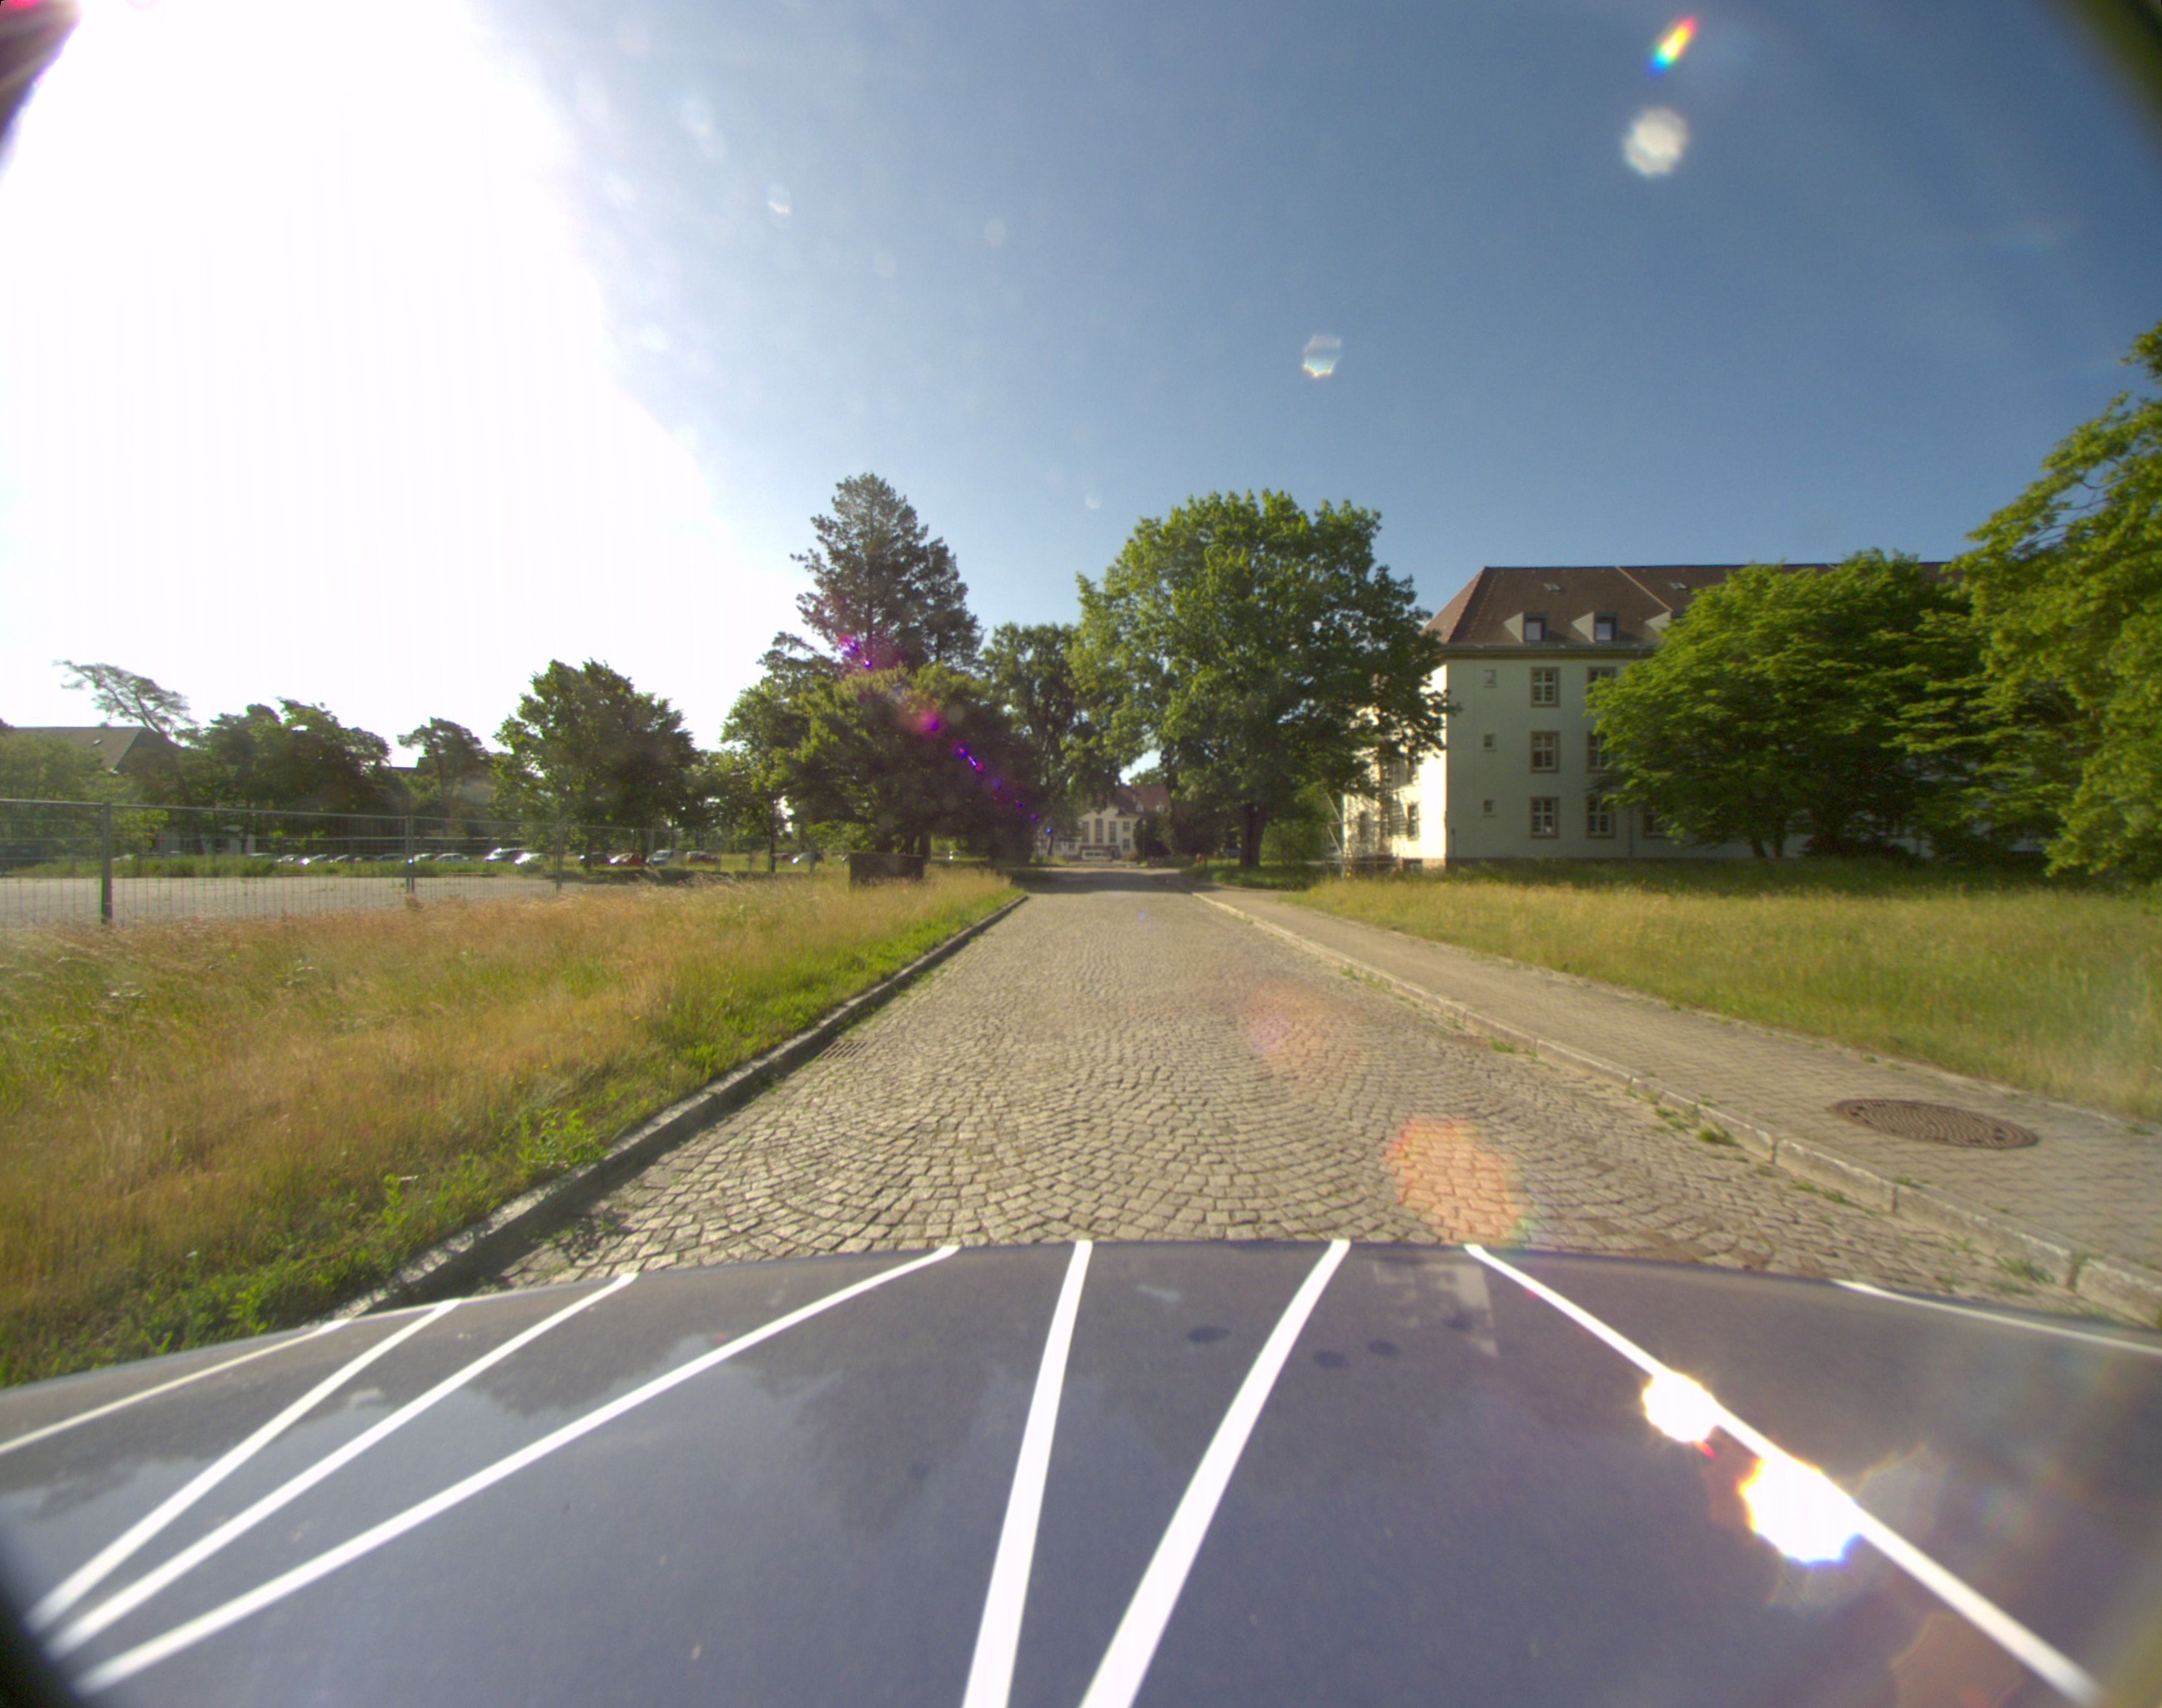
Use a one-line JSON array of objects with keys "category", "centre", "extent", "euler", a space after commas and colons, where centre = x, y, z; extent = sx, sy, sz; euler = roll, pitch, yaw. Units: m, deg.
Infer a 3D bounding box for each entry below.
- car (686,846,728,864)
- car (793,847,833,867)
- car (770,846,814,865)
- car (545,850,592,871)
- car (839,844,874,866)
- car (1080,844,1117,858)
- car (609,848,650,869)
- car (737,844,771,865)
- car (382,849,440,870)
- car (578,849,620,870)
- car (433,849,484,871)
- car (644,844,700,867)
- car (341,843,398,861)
[{"category": "car", "centre": [-36.127, 0.079, 73.546], "extent": [1.998, 1.642, 4.000], "euler": [0, 1, 1]}, {"category": "car", "centre": [-25.739, 0.245, 73.147], "extent": [2.245, 1.828, 4.349], "euler": [0, 1, 2]}, {"category": "car", "centre": [-28.084, 0.103, 74.007], "extent": [2.245, 1.828, 4.350], "euler": [0, 1, 5]}, {"category": "car", "centre": [-50.381, 0.645, 74.785], "extent": [1.999, 2.002, 3.999], "euler": [0, 1, 0]}, {"category": "car", "centre": [-21.470, 0.048, 72.803], "extent": [2.246, 2.002, 4.348], "euler": [0, 1, -2]}, {"category": "car", "centre": [3.157, -0.510, 136.071], "extent": [6.444, 2.452, 2.463], "euler": [0, 1, 2]}, {"category": "car", "centre": [-43.675, 0.389, 73.632], "extent": [1.741, 2.002, 3.619], "euler": [0, 1, 1]}, {"category": "car", "centre": [-31.993, 0.031, 74.360], "extent": [1.741, 2.002, 3.619], "euler": [0, 1, 1]}, {"category": "car", "centre": [-65.096, 0.511, 73.918], "extent": [1.998, 2.002, 3.999], "euler": [0, 1, 0]}, {"category": "car", "centre": [-46.486, 0.479, 73.357], "extent": [1.741, 2.002, 3.619], "euler": [0, 1, 1]}, {"category": "car", "centre": [-60.457, 0.569, 73.870], "extent": [1.741, 2.002, 3.852], "euler": [0, 1, 3]}, {"category": "car", "centre": [-39.893, 0.093, 74.315], "extent": [1.998, 2.002, 6.032], "euler": [-2, 2, 2]}, {"category": "car", "centre": [-69.019, -0.197, 73.782], "extent": [1.741, 1.649, 3.852], "euler": [0, 1, 3]}]
